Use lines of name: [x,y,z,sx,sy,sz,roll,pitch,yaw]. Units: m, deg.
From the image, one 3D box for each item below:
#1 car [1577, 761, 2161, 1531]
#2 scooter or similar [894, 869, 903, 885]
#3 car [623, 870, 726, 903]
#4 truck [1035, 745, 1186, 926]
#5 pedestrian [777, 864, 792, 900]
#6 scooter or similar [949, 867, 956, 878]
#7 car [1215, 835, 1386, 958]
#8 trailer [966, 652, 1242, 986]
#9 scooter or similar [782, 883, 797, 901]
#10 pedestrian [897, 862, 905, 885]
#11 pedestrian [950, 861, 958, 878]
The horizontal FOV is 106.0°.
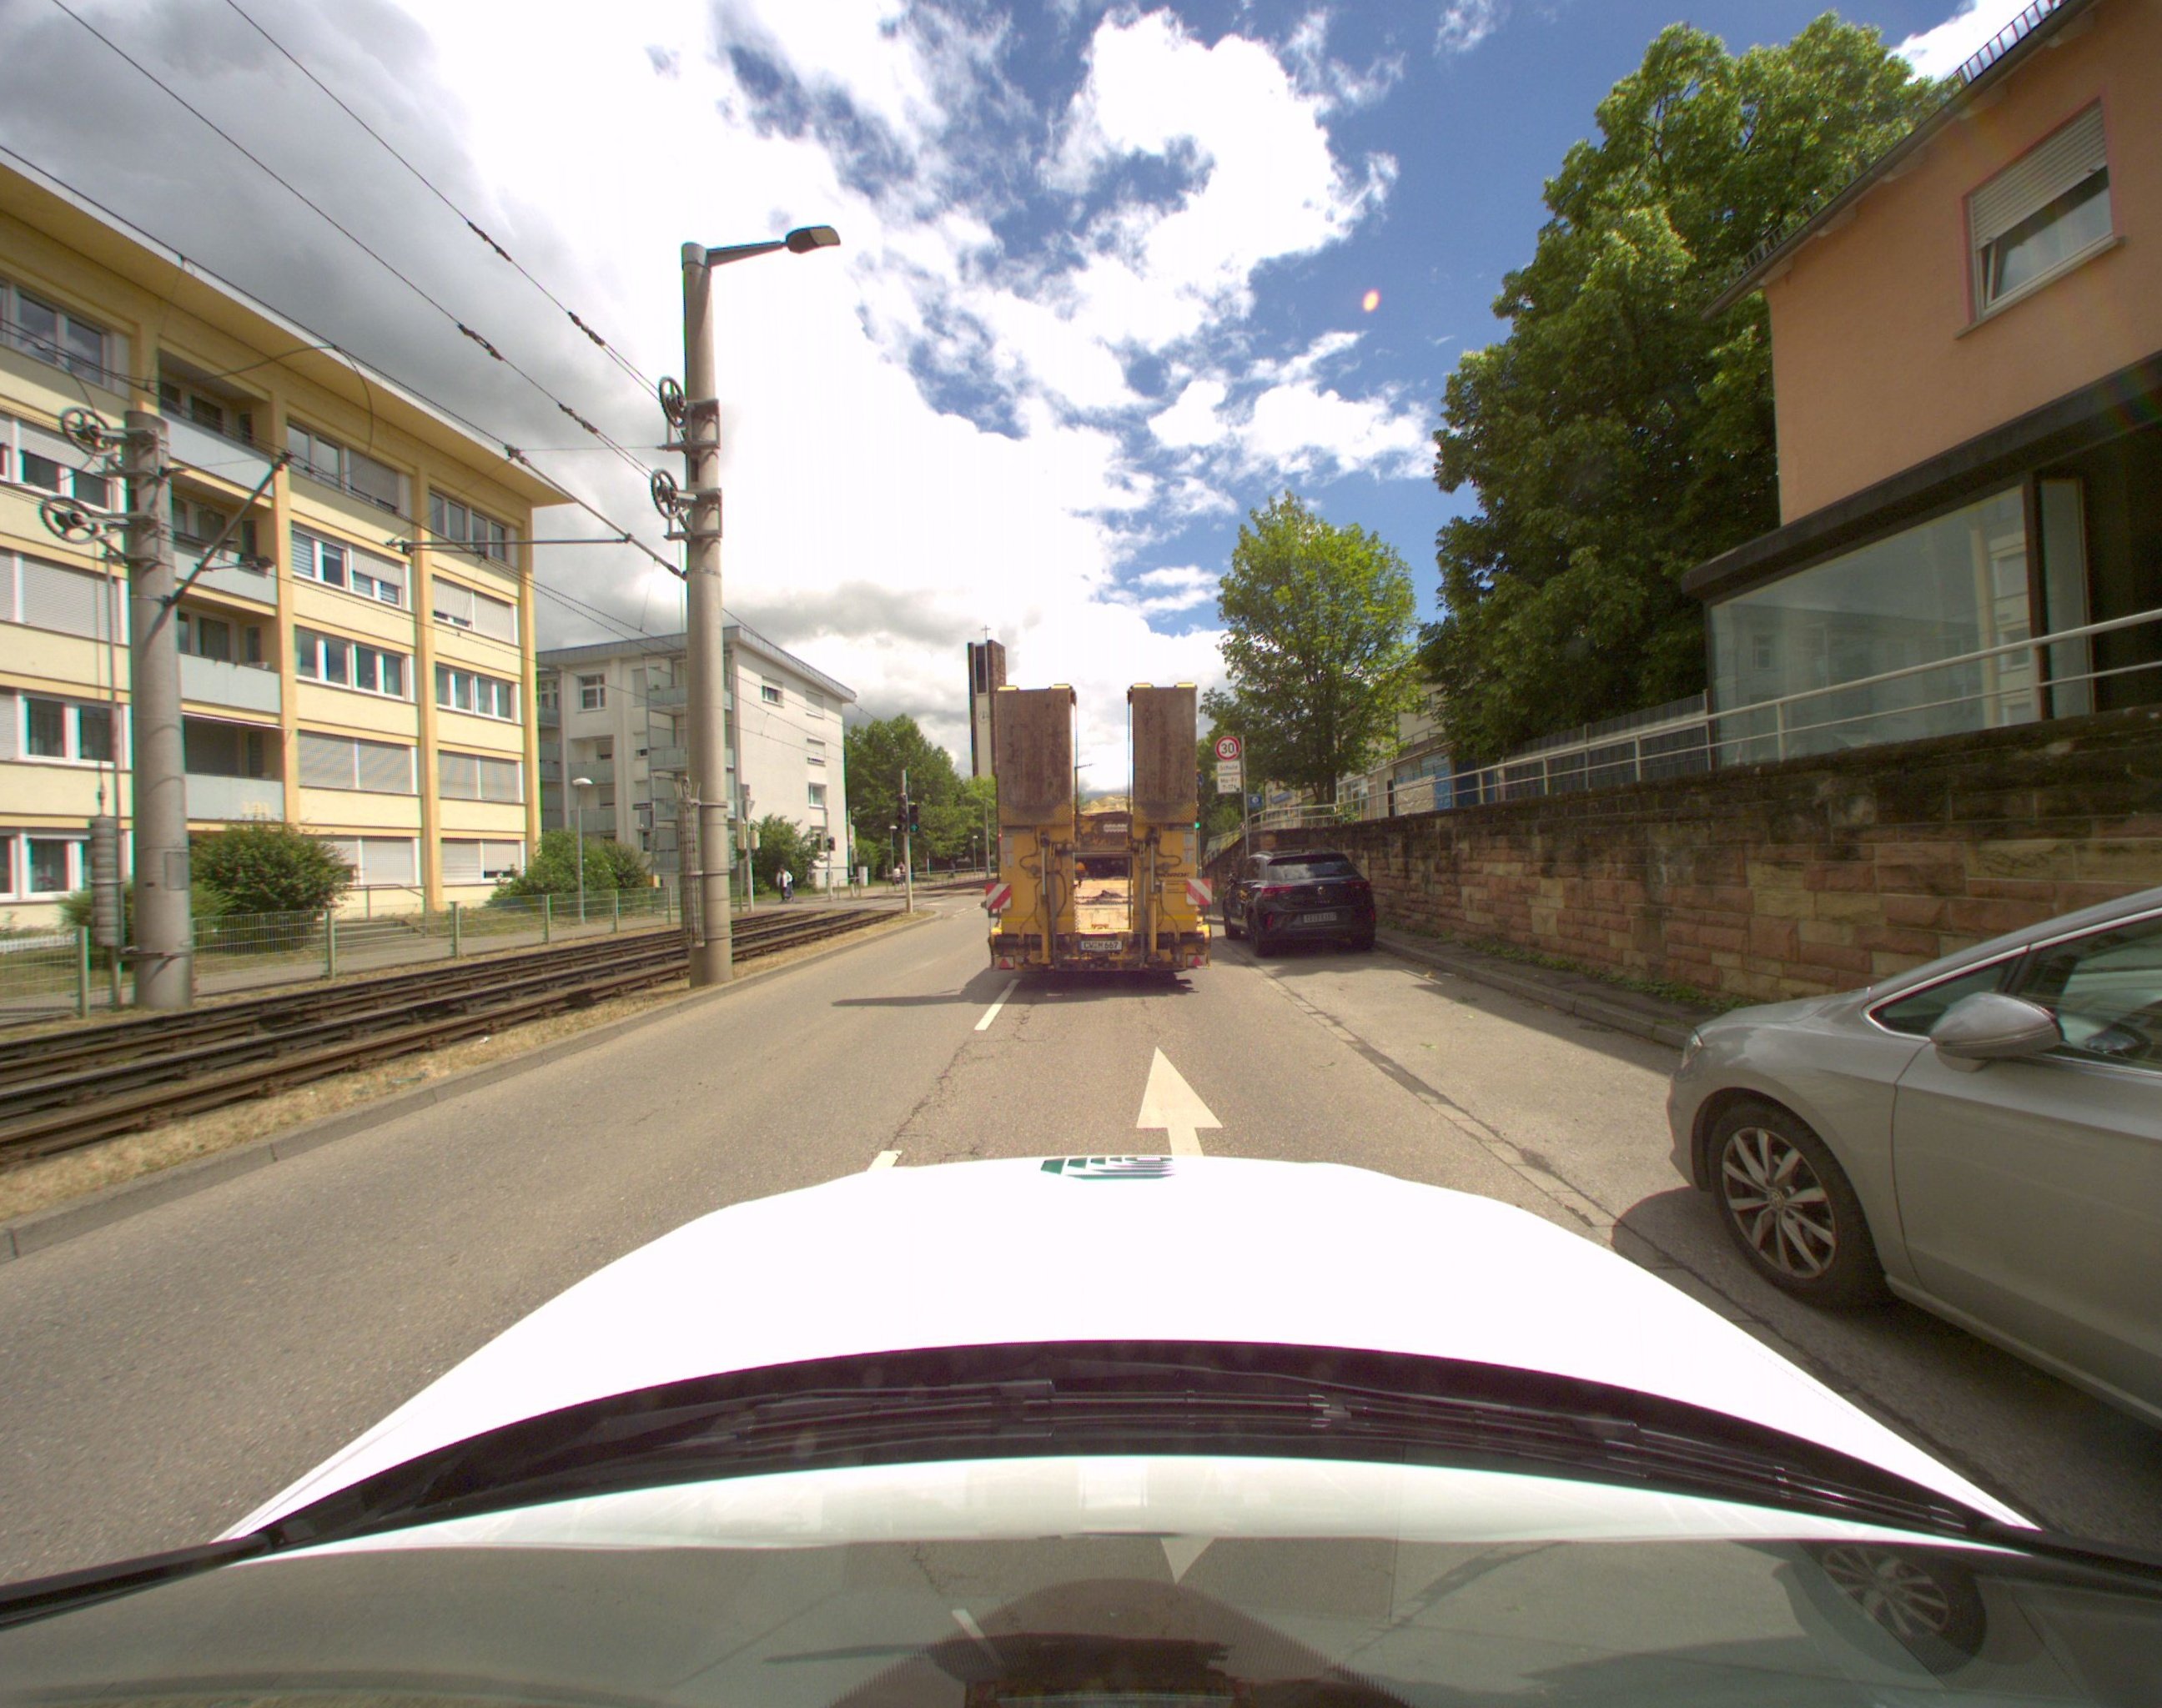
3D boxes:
car: [3.124,0.570,1.522,1.783,1.618,4.249,-3,0,1]
scooter or similar: [-12.234,1.529,54.614,0.336,1.058,0.688,-2,-1,5]
car: [-19.303,1.531,38.762,3.963,1.346,1.906,-2,0,9]
truck: [0.717,-0.359,18.942,2.931,3.572,4.880,-2,0,3]
pedestrian: [-13.165,1.239,36.161,0.435,1.581,0.475,-2,-1,7]
scooter or similar: [-11.302,1.624,71.392,0.504,0.971,0.646,0,0,1]
car: [3.428,0.610,13.494,1.843,1.639,4.003,-3,0,3]
trailer: [0.456,-0.372,13.365,2.933,3.601,8.689,-2,0,3]
scooter or similar: [-12.804,1.666,35.768,0.435,0.747,0.475,-2,0,7]
pedestrian: [-12.191,1.313,55.246,0.346,1.537,0.558,-2,-1,5]
pedestrian: [-11.257,1.363,72.049,0.562,1.514,0.646,0,-1,1]
